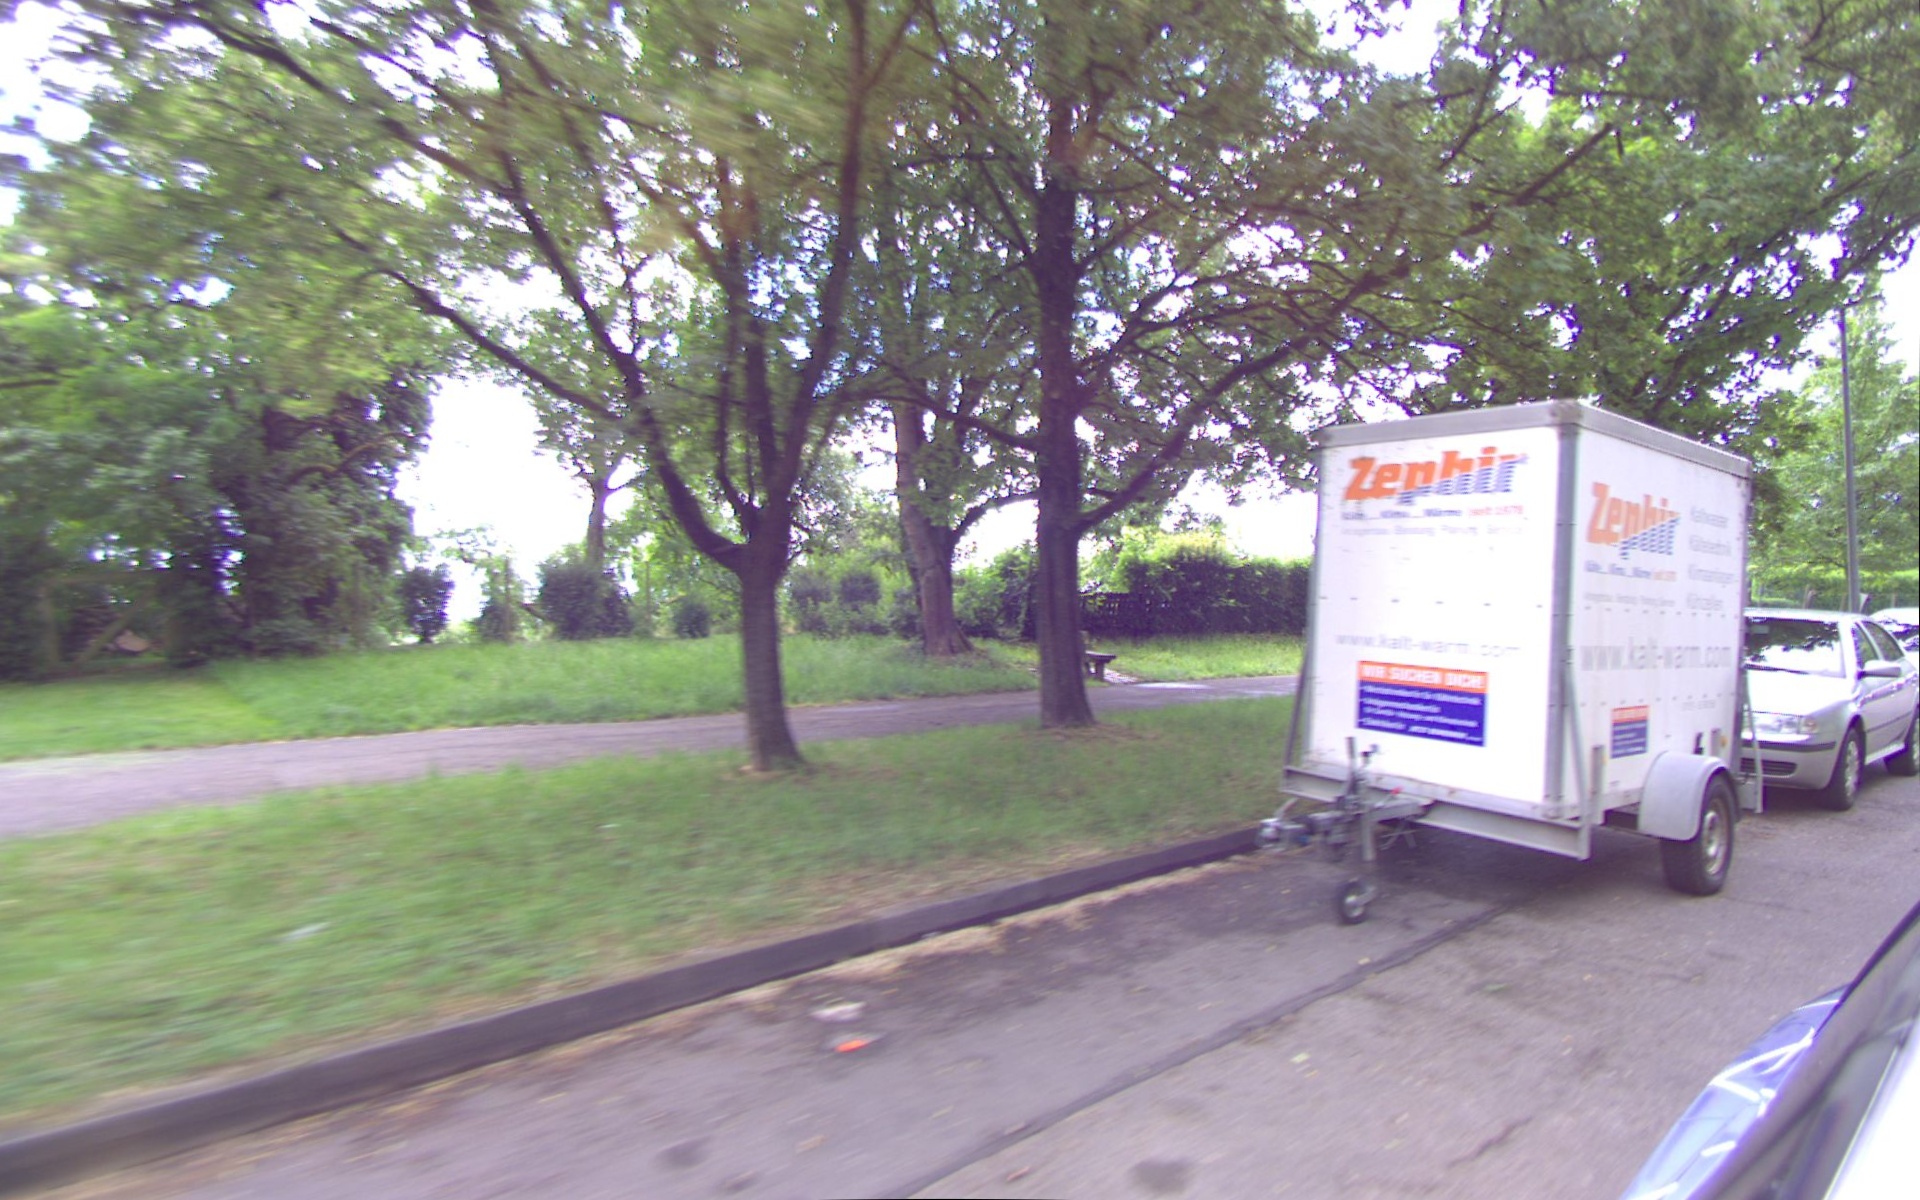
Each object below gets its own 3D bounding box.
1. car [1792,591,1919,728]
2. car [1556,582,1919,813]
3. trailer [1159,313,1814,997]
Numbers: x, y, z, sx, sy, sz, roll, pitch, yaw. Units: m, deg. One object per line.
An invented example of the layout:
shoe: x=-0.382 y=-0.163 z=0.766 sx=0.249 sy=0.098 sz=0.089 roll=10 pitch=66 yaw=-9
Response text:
car: x=12.047 y=0.680 z=12.344 sx=3.981 sy=1.495 sz=1.908 roll=1 pitch=-2 yaw=-35
car: x=7.149 y=0.620 z=8.896 sx=4.551 sy=1.544 sz=1.746 roll=-1 pitch=1 yaw=-38
trailer: x=3.033 y=0.176 z=5.524 sx=3.816 sy=2.457 sz=1.765 roll=0 pitch=1 yaw=-39
